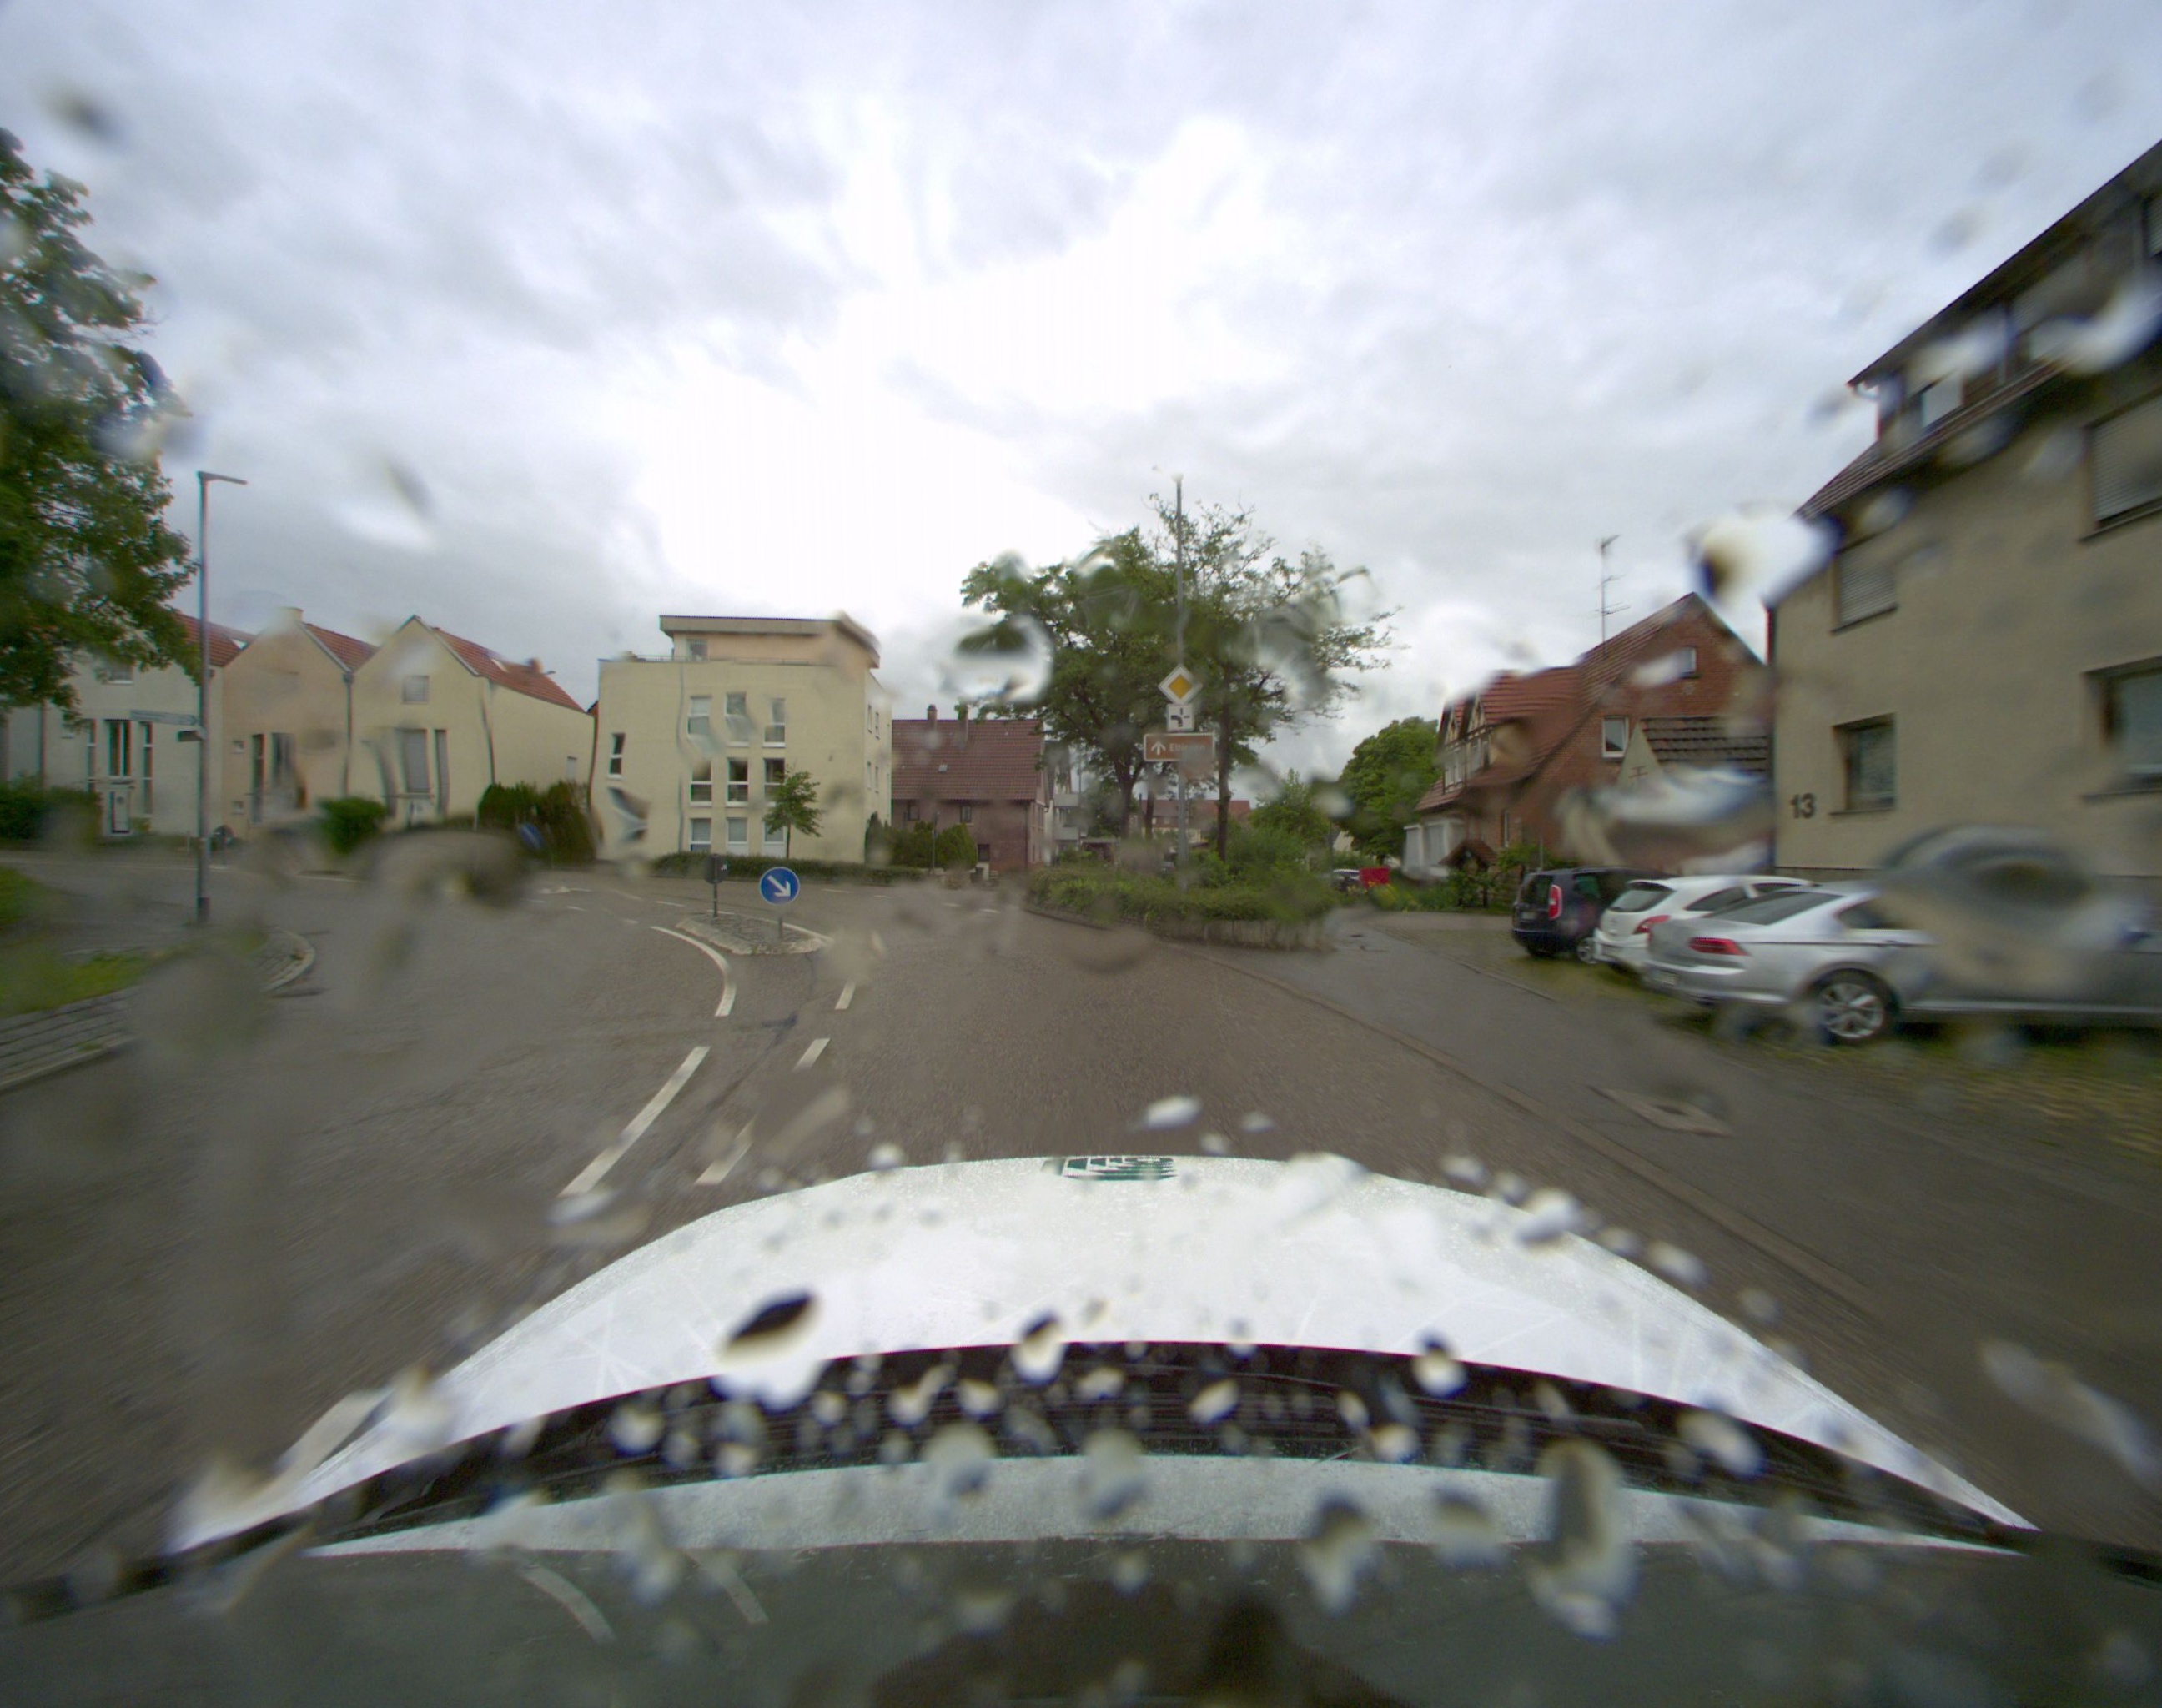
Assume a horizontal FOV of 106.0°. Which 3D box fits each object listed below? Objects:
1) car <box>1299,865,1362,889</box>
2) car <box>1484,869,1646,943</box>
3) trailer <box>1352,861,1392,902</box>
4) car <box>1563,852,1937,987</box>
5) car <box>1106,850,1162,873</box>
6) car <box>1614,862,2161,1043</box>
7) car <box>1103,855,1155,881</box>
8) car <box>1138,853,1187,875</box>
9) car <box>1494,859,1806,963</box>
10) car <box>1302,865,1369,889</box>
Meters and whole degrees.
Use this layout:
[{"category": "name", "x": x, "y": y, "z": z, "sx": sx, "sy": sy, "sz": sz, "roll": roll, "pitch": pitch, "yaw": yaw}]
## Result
[{"category": "car", "x": 18.210, "y": 1.656, "z": 59.389, "sx": 3.949, "sy": 1.552, "sz": 2.012, "roll": 2, "pitch": 0, "yaw": 30}, {"category": "car", "x": 10.994, "y": 1.103, "z": 18.866, "sx": 1.890, "sy": 1.439, "sz": 4.278, "roll": 0, "pitch": 0, "yaw": 11}, {"category": "trailer", "x": 12.684, "y": 1.173, "z": 35.547, "sx": 1.397, "sy": 1.649, "sz": 2.736, "roll": 2, "pitch": 0, "yaw": 15}, {"category": "car", "x": 8.712, "y": 0.862, "z": 10.929, "sx": 3.399, "sy": 1.530, "sz": 1.723, "roll": -3, "pitch": -3, "yaw": 10}, {"category": "car", "x": 3.870, "y": 0.548, "z": 59.599, "sx": 3.970, "sy": 1.456, "sz": 1.948, "roll": 2, "pitch": 0, "yaw": 3}, {"category": "car", "x": 8.079, "y": 0.886, "z": 7.809, "sx": 4.583, "sy": 1.415, "sz": 1.826, "roll": -3, "pitch": -1, "yaw": 10}, {"category": "car", "x": 3.881, "y": 1.096, "z": 65.042, "sx": 3.967, "sy": 1.882, "sz": 1.843, "roll": 2, "pitch": 0, "yaw": 6}, {"category": "car", "x": 6.776, "y": 0.820, "z": 68.163, "sx": 3.969, "sy": 1.697, "sz": 2.002, "roll": 2, "pitch": 0, "yaw": 4}, {"category": "car", "x": 9.410, "y": 0.931, "z": 13.749, "sx": 3.968, "sy": 1.583, "sz": 1.750, "roll": -1, "pitch": -2, "yaw": 4}, {"category": "car", "x": 19.291, "y": 1.746, "z": 61.741, "sx": 4.426, "sy": 1.552, "sz": 2.012, "roll": 2, "pitch": 0, "yaw": 30}]
